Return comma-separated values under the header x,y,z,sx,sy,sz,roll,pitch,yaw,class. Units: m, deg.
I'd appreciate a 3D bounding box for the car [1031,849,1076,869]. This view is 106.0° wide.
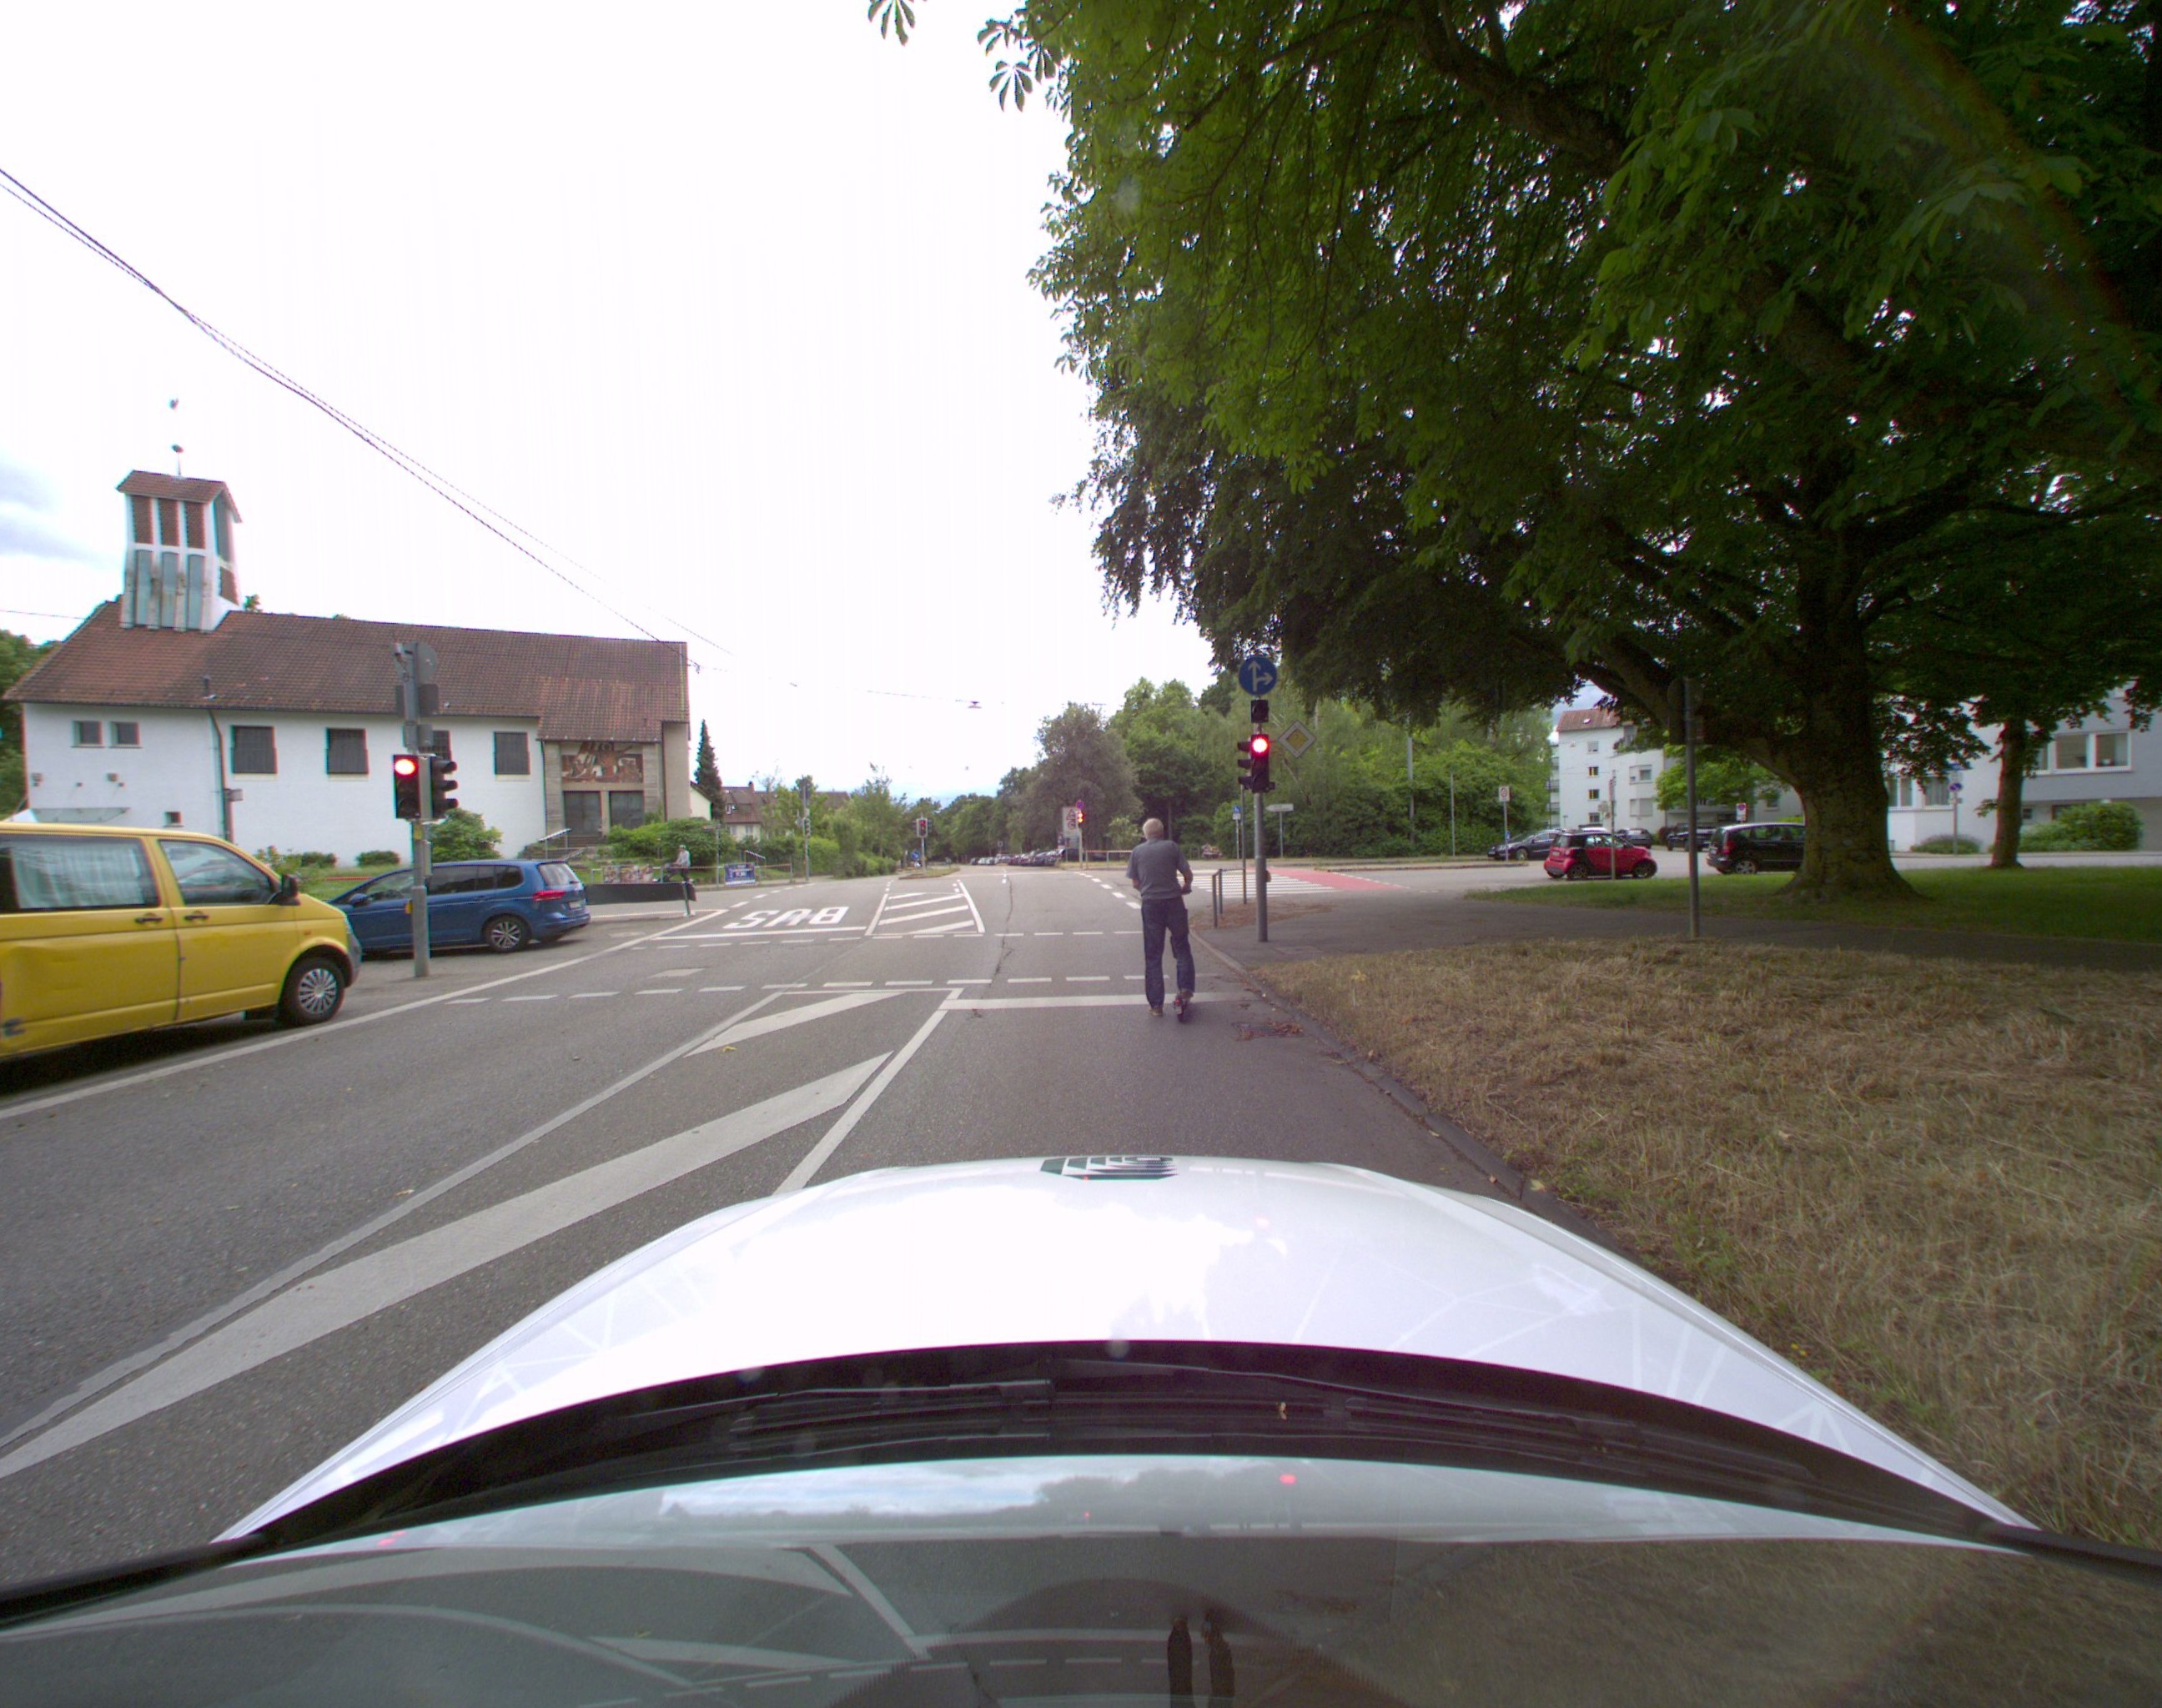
x,y,z,sx,sy,sz,roll,pitch,yaw,class
-2.586,0.468,77.001,3.857,1.610,1.715,-3,0,-22,car

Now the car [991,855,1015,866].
x,y,z,sx,sy,sz,roll,pitch,yaw,class
-13.383,1.147,139.634,3.856,1.610,1.716,-3,0,-21,car

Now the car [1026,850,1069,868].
x,y,z,sx,sy,sz,roll,pitch,yaw,class
-3.274,0.479,79.561,3.856,1.610,1.716,-3,0,-21,car

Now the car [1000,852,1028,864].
x,y,z,sx,sy,sz,roll,pitch,yaw,class
-10.118,0.645,122.349,3.856,1.610,1.716,-3,0,-21,car

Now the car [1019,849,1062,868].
x,y,z,sx,sy,sz,roll,pitch,yaw,class
-4.044,0.455,81.616,3.856,1.610,1.716,-3,0,-21,car

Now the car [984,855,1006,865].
x,y,z,sx,sy,sz,roll,pitch,yaw,class
-16.338,1.186,154.696,3.856,1.610,1.716,-3,0,-21,car

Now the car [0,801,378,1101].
x,y,z,sx,sy,sz,roll,pitch,yaw,class
-8.299,0.683,6.334,1.880,2.013,4.558,-2,0,-5,car

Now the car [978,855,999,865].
x,y,z,sx,sy,sz,roll,pitch,yaw,class
-18.141,1.155,159.446,3.856,1.610,1.716,-3,0,-21,car

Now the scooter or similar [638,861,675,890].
x,y,z,sx,sy,sz,roll,pitch,yaw,class
-16.952,0.840,32.532,0.570,1.081,1.118,-2,0,30,scooter or similar

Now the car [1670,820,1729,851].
x,y,z,sx,sy,sz,roll,pitch,yaw,class
35.571,-1.070,46.919,1.707,1.610,3.875,-3,1,22,car

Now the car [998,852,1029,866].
x,y,z,sx,sy,sz,roll,pitch,yaw,class
-9.045,0.691,109.345,3.856,1.610,1.716,-3,0,-21,car

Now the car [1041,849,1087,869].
x,y,z,sx,sy,sz,roll,pitch,yaw,class
-1.577,0.441,75.005,3.854,1.610,1.717,-3,0,-19,car

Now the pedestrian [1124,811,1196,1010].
x,y,z,sx,sy,sz,roll,pitch,yaw,class
0.755,0.520,7.669,0.569,1.813,0.421,-2,0,10,pedestrian

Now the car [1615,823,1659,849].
x,y,z,sx,sy,sz,roll,pitch,yaw,class
38.958,-1.276,57.130,1.707,1.610,3.875,-3,1,22,car

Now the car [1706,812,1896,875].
x,y,z,sx,sy,sz,roll,pitch,yaw,class
20.833,-0.298,23.794,3.805,1.610,1.739,-3,1,27,car

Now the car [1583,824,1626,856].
x,y,z,sx,sy,sz,roll,pitch,yaw,class
28.788,-0.789,44.886,1.706,1.610,3.878,-3,1,30,car

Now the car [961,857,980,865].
x,y,z,sx,sy,sz,roll,pitch,yaw,class
-24.222,1.556,178.802,3.856,1.610,1.716,-3,0,-21,car

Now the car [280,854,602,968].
x,y,z,sx,sy,sz,roll,pitch,yaw,class
-11.064,0.916,14.420,3.992,1.610,1.810,-3,0,-14,car

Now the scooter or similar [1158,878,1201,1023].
x,y,z,sx,sy,sz,roll,pitch,yaw,class
0.919,0.840,7.488,0.280,1.178,1.180,-2,0,10,scooter or similar

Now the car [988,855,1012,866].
x,y,z,sx,sy,sz,roll,pitch,yaw,class
-14.322,1.156,143.334,3.856,1.610,1.716,-3,0,-21,car

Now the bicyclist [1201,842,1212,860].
x,y,z,sx,sy,sz,roll,pitch,yaw,class
8.713,-0.182,56.491,0.488,1.248,0.682,0,-1,44,bicyclist

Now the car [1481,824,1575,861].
x,y,z,sx,sy,sz,roll,pitch,yaw,class
21.113,-0.560,38.595,3.498,1.530,1.732,-3,0,8,car

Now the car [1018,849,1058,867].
x,y,z,sx,sy,sz,roll,pitch,yaw,class
-4.595,0.432,86.947,3.856,1.610,1.716,-3,0,-21,car

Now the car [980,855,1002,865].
x,y,z,sx,sy,sz,roll,pitch,yaw,class
-17.315,1.149,156.854,3.856,1.610,1.716,-3,0,-21,car

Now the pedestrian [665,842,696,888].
x,y,z,sx,sy,sz,roll,pitch,yaw,class
-16.427,0.452,33.391,0.567,1.862,0.892,-2,0,31,pedestrian

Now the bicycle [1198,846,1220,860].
x,y,z,sx,sy,sz,roll,pitch,yaw,class
8.917,-0.035,56.706,0.488,0.959,1.937,0,0,44,bicycle

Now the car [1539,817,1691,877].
x,y,z,sx,sy,sz,roll,pitch,yaw,class
16.527,-0.209,25.352,3.499,1.610,1.732,-3,0,7,car

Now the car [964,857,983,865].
x,y,z,sx,sy,sz,roll,pitch,yaw,class
-23.309,1.464,176.441,3.856,1.610,1.716,-3,0,-21,car

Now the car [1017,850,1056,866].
x,y,z,sx,sy,sz,roll,pitch,yaw,class
-4.927,0.439,89.369,3.856,1.610,1.716,-3,0,-21,car
